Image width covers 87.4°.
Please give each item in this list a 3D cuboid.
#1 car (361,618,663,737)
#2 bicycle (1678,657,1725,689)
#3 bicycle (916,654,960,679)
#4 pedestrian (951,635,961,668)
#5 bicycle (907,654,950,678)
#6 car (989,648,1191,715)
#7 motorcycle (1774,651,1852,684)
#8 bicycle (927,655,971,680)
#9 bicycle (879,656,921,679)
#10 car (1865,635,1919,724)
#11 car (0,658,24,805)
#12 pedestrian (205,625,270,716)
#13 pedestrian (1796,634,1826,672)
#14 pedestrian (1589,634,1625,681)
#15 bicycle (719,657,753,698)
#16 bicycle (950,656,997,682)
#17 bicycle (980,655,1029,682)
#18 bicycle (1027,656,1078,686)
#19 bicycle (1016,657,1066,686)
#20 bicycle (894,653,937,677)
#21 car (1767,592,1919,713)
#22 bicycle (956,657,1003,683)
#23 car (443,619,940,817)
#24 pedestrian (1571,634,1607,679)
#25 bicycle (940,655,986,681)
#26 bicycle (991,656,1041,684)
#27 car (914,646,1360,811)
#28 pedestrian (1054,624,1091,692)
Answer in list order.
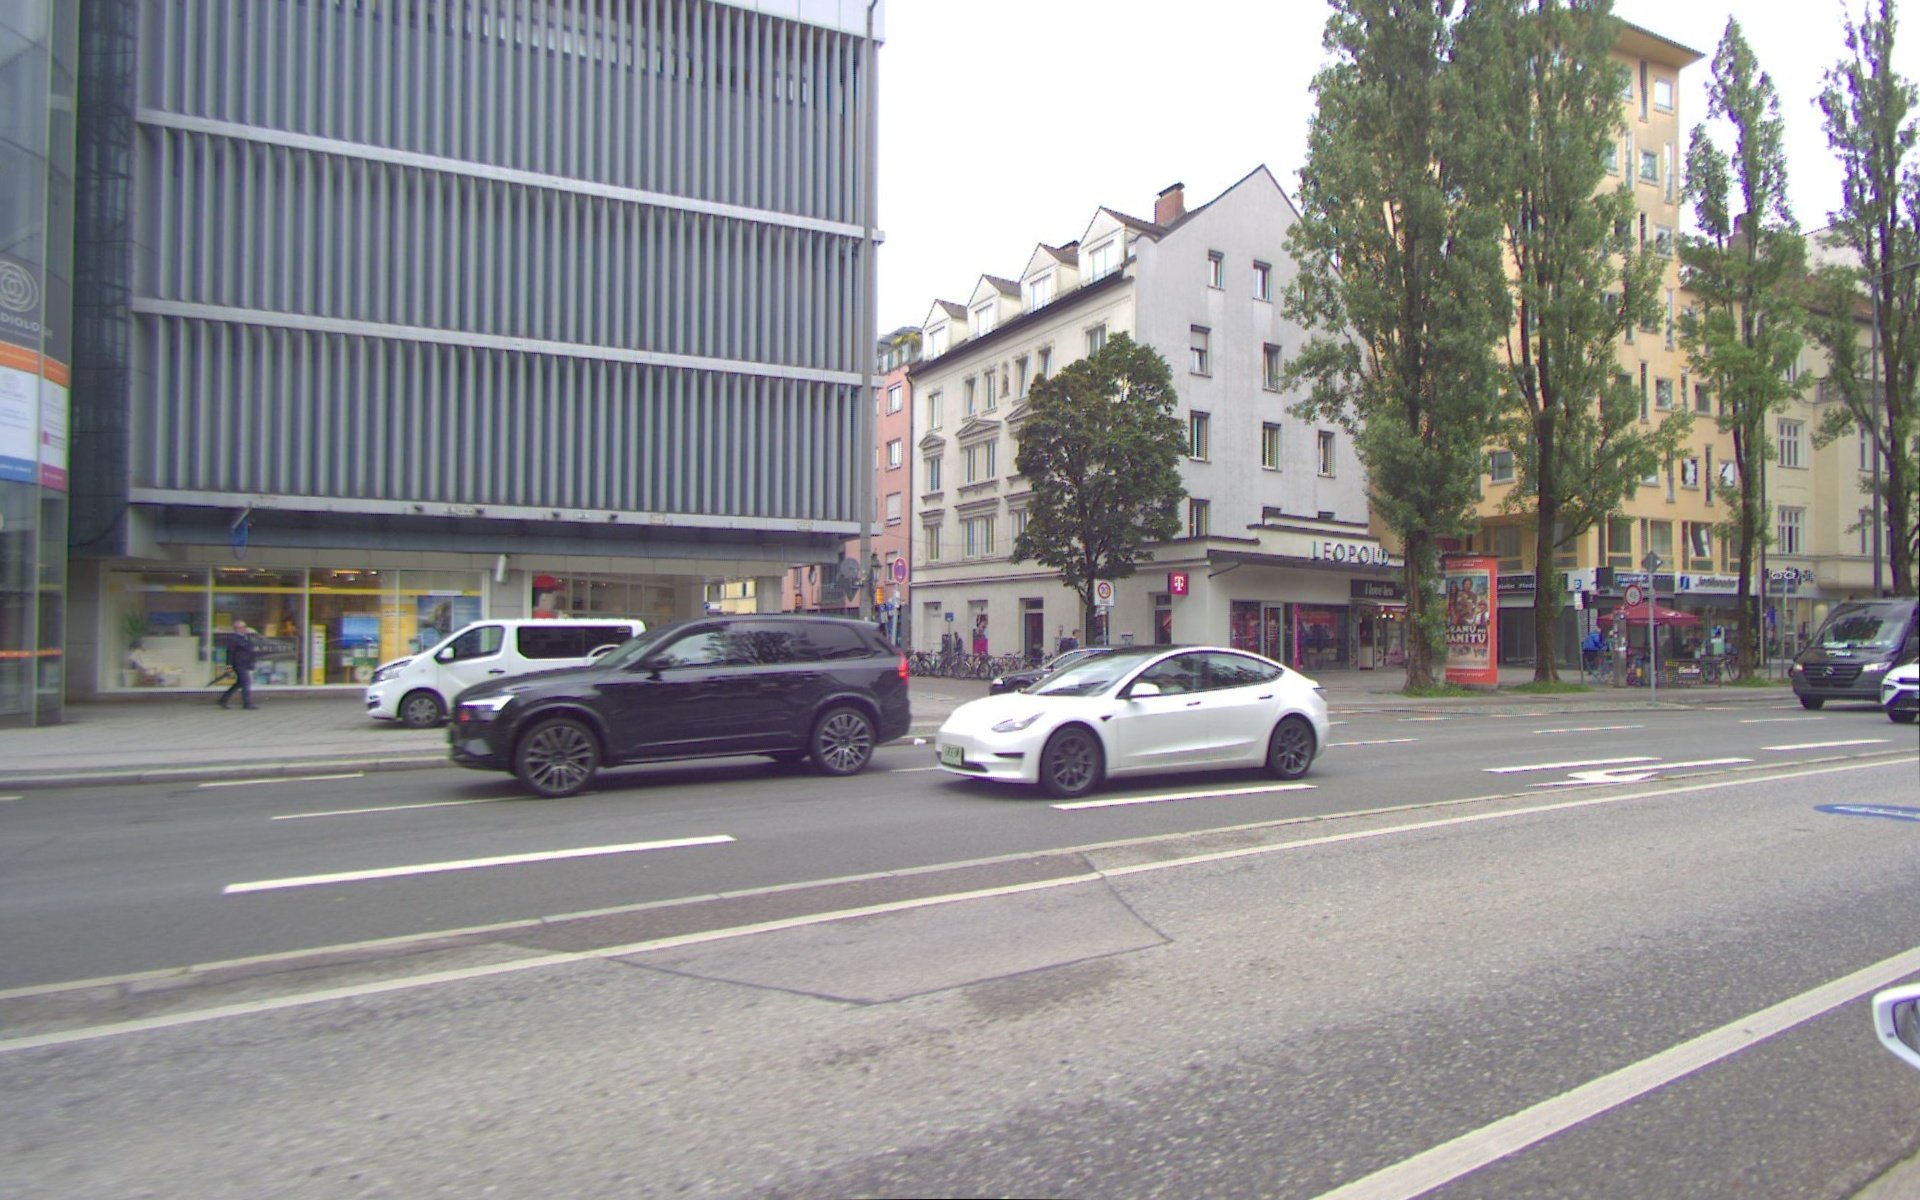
[{"bbox_3d":[-8.460,1.396,19.311,5.043,2.040,1.988,1,-2,-25],"label":"car"},{"bbox_3d":[23.328,2.282,31.583,1.857,0.976,0.456,1,-2,-29],"label":"bicycle"},{"bbox_3d":[-0.915,2.798,42.390,1.857,0.976,0.456,1,-2,-29],"label":"bicycle"},{"bbox_3d":[-0.188,2.435,47.559,0.346,1.533,0.308,1,-2,-31],"label":"pedestrian"},{"bbox_3d":[-1.343,2.797,42.879,1.857,0.976,0.456,1,-2,-29],"label":"bicycle"},{"bbox_3d":[3.080,1.879,23.654,4.418,1.458,1.929,-1,-2,18],"label":"car"},{"bbox_3d":[30.061,2.373,35.428,0.483,1.050,2.037,2,-1,-41],"label":"motorcycle"},{"bbox_3d":[-0.451,2.793,41.524,1.857,0.976,0.456,1,-2,-29],"label":"bicycle"},{"bbox_3d":[-2.677,3.003,44.844,1.857,0.976,0.456,1,-2,-29],"label":"bicycle"},{"bbox_3d":[19.505,1.462,19.074,4.295,1.624,1.905,1,-2,-25],"label":"car"},{"bbox_3d":[-11.884,1.284,8.853,4.906,1.488,1.855,0,-4,-20],"label":"car"},{"bbox_3d":[-15.057,1.451,20.956,0.891,1.859,0.861,1,-2,-23],"label":"pedestrian"},{"bbox_3d":[35.960,2.215,42.464,0.803,1.582,0.633,0,-2,-20],"label":"pedestrian"},{"bbox_3d":[23.698,2.097,36.800,0.752,1.647,0.838,1,-1,-23],"label":"pedestrian"},{"bbox_3d":[-6.284,2.147,28.096,0.548,1.097,1.816,1,-3,-25],"label":"bicycle"},{"bbox_3d":[0.542,2.731,39.798,1.857,0.976,0.456,1,-2,-29],"label":"bicycle"},{"bbox_3d":[1.643,2.521,37.045,1.857,0.976,0.456,1,-2,-29],"label":"bicycle"},{"bbox_3d":[3.235,2.479,35.154,1.857,0.976,0.456,1,-2,-29],"label":"bicycle"},{"bbox_3d":[2.884,2.525,35.645,1.857,0.976,0.456,1,-2,-29],"label":"bicycle"},{"bbox_3d":[-1.940,2.806,43.565,1.857,0.976,0.456,1,-2,-29],"label":"bicycle"},{"bbox_3d":[22.458,1.214,24.115,5.976,2.639,2.166,1,-2,-22],"label":"car"},{"bbox_3d":[0.779,2.728,39.335,1.857,0.976,0.456,1,-2,-29],"label":"bicycle"},{"bbox_3d":[-2.836,1.115,11.021,4.926,1.739,2.008,1,-2,-32],"label":"car"},{"bbox_3d":[23.662,2.113,37.782,0.752,1.647,0.838,1,-1,-23],"label":"pedestrian"},{"bbox_3d":[0.122,2.734,40.524,1.857,0.976,0.456,1,-2,-29],"label":"bicycle"},{"bbox_3d":[2.022,2.518,36.343,1.857,0.976,0.456,1,-2,-29],"label":"bicycle"},{"bbox_3d":[1.964,1.224,10.794,4.632,1.412,1.792,1,-2,-28],"label":"car"},{"bbox_3d":[3.234,1.661,29.013,0.818,1.923,0.858,0,-2,-13],"label":"pedestrian"}]
